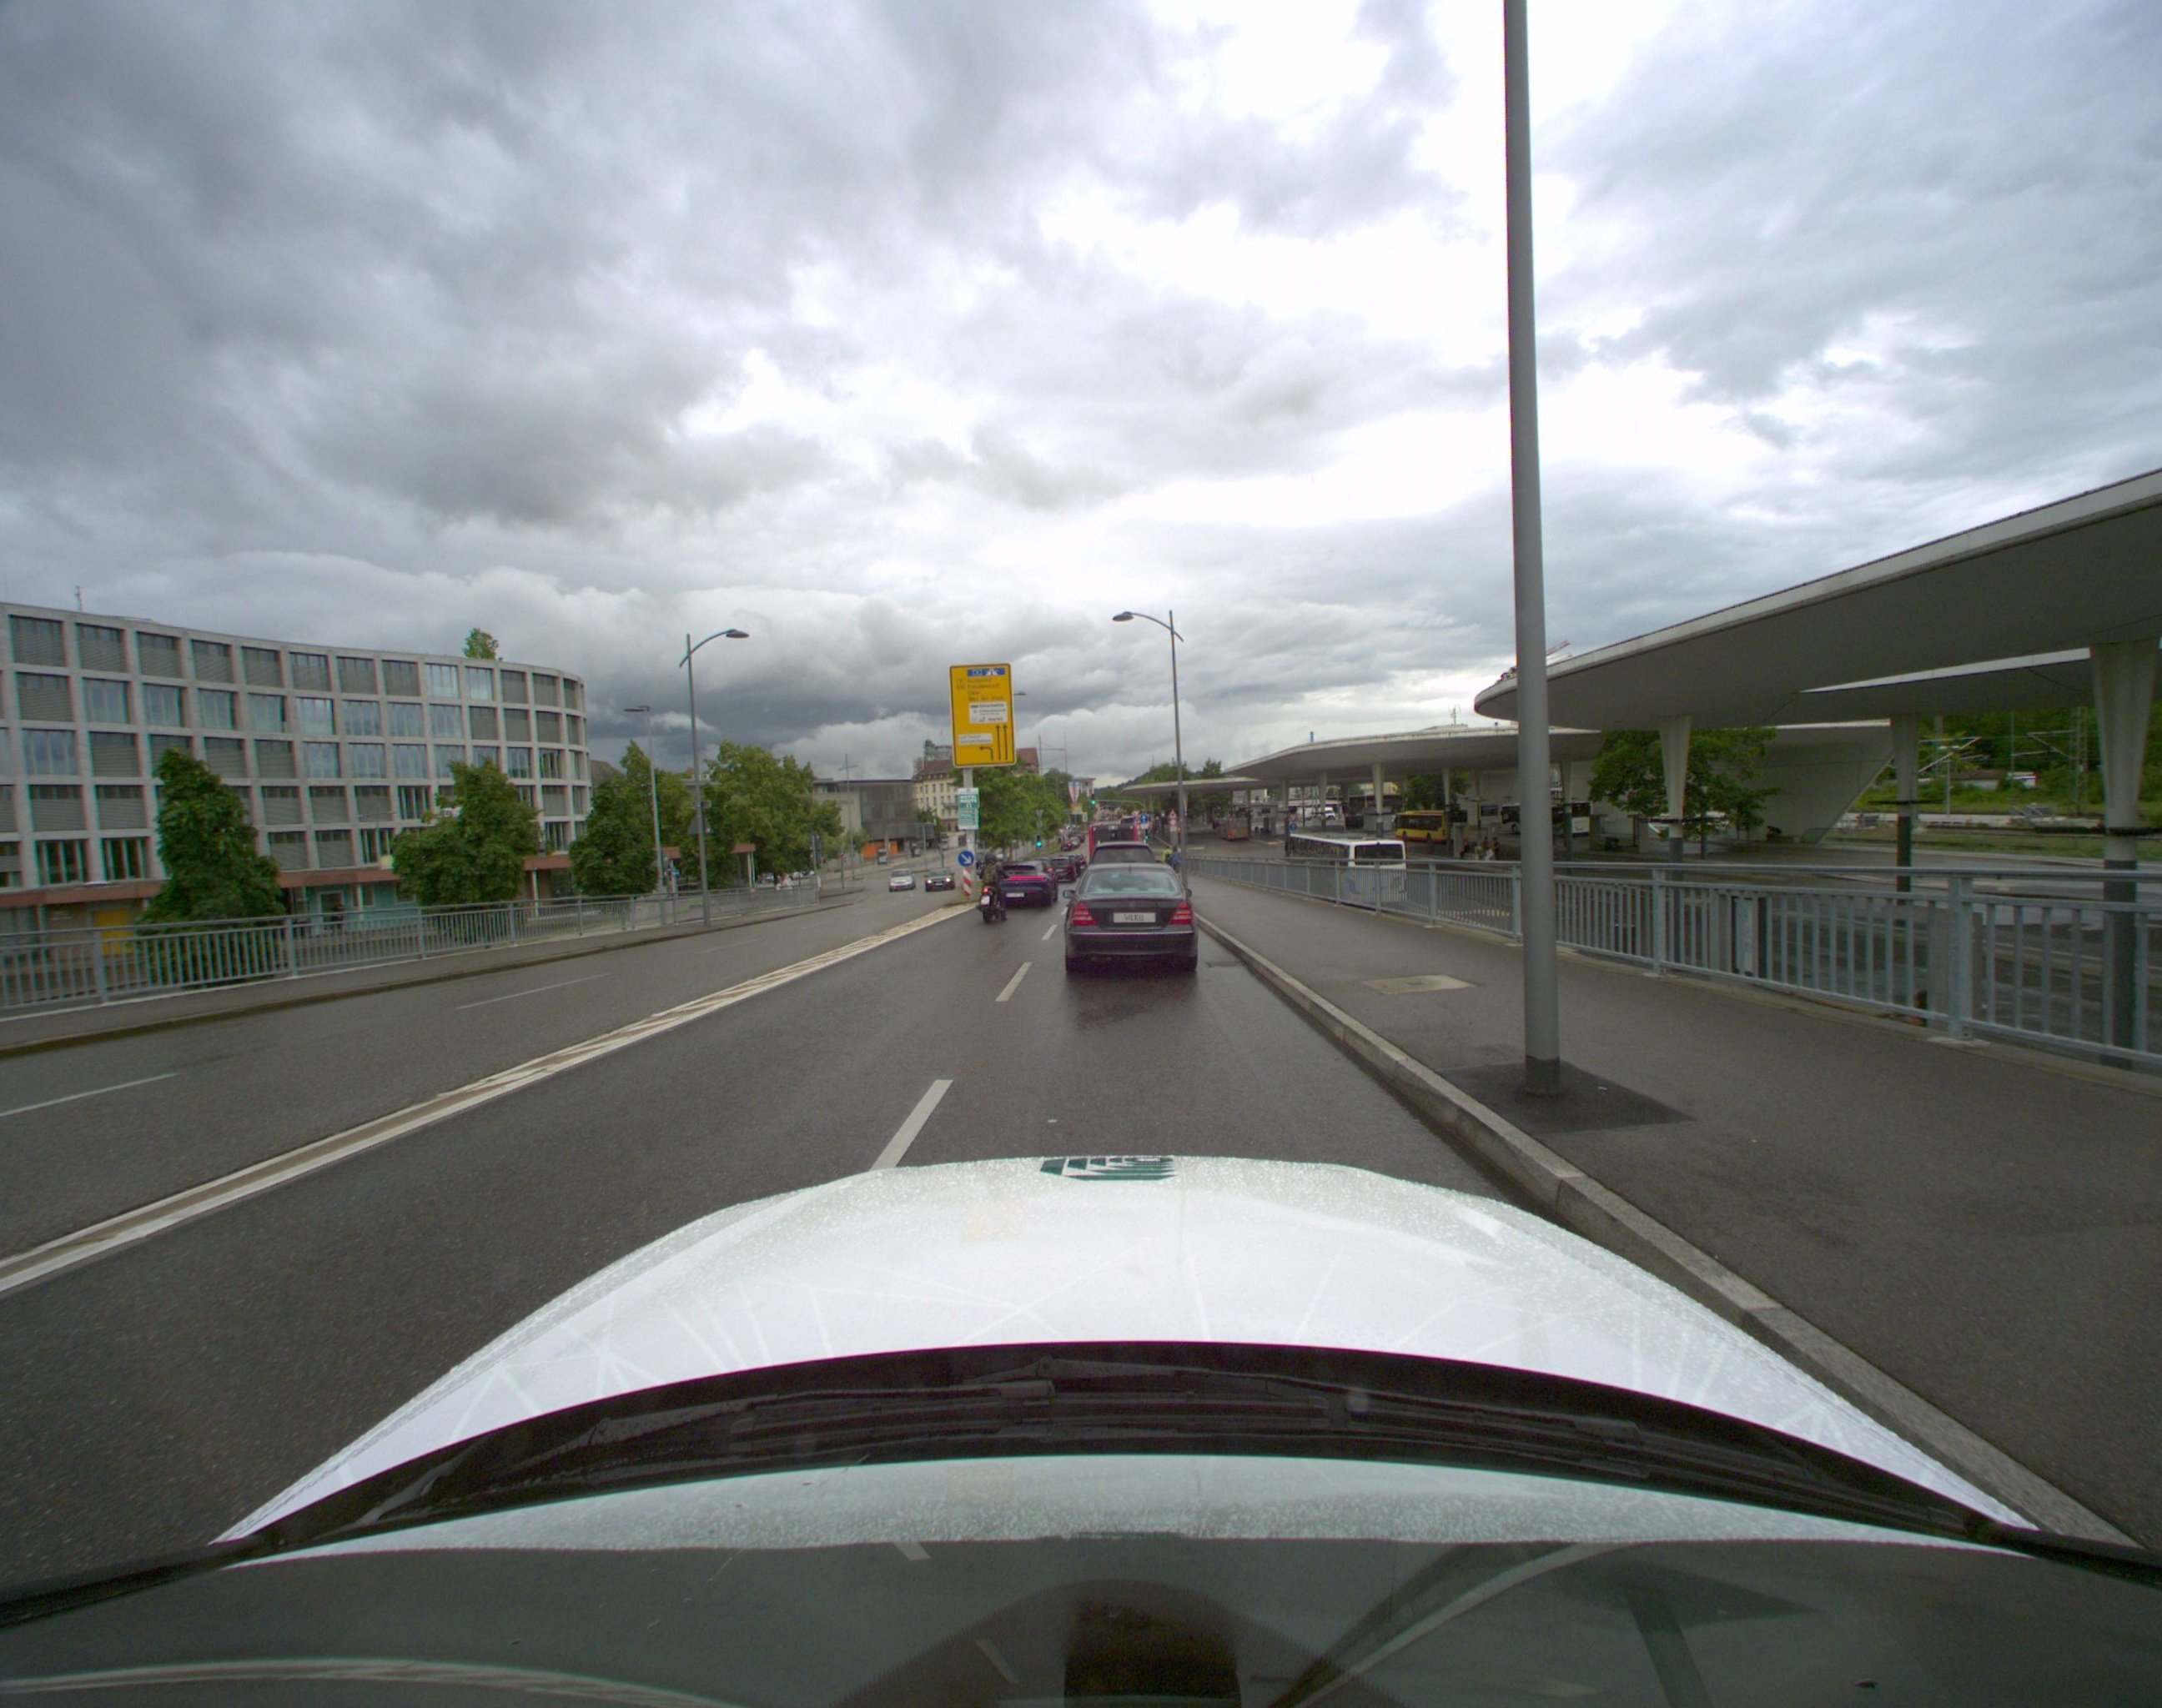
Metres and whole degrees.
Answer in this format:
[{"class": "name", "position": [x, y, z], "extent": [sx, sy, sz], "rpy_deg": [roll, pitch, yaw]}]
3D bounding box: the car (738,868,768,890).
[{"class": "car", "position": [-33.383, 2.507, 82.813], "extent": [2.008, 2.013, 3.958], "rpy_deg": [1, 1, -35]}]

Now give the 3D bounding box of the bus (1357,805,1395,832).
[{"class": "bus", "position": [37.824, -4.604, 104.691], "extent": [2.588, 3.209, 7.003], "rpy_deg": [-3, 2, 4]}]

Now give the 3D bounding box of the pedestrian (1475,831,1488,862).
[{"class": "pedestrian", "position": [26.362, -0.486, 53.593], "extent": [0.558, 2.013, 0.484], "rpy_deg": [-3, 0, 4]}]

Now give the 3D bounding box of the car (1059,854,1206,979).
[{"class": "car", "position": [0.710, 0.733, 11.364], "extent": [1.699, 1.419, 3.729], "rpy_deg": [-1, 0, 3]}]

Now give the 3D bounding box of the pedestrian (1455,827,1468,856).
[{"class": "pedestrian", "position": [26.842, -0.897, 57.477], "extent": [0.541, 2.013, 0.580], "rpy_deg": [-3, 0, 3]}]

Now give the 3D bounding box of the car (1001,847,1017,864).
[{"class": "car", "position": [-9.370, 0.258, 106.136], "extent": [1.990, 2.013, 4.195], "rpy_deg": [-3, -1, -5]}]

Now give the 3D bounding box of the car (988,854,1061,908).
[{"class": "car", "position": [-1.649, 0.776, 25.088], "extent": [1.753, 1.436, 4.003], "rpy_deg": [-1, 1, 2]}]

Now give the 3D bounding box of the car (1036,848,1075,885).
[{"class": "car", "position": [-1.401, 0.668, 46.708], "extent": [1.986, 2.006, 4.002], "rpy_deg": [-1, 1, 1]}]

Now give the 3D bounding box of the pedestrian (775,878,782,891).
[{"class": "pedestrian", "position": [-21.093, 2.132, 56.708], "extent": [0.299, 0.873, 0.299], "rpy_deg": [-3, 2, 4]}]

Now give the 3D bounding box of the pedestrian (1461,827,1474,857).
[{"class": "pedestrian", "position": [26.644, -0.847, 56.089], "extent": [0.541, 2.013, 0.580], "rpy_deg": [-3, 0, 3]}]

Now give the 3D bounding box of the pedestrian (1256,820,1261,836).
[{"class": "pedestrian", "position": [23.478, -3.449, 107.818], "extent": [0.422, 2.013, 0.484], "rpy_deg": [-3, 0, 4]}]

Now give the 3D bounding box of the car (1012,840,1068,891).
[{"class": "car", "position": [-1.693, 0.441, 35.236], "extent": [1.985, 2.006, 4.003], "rpy_deg": [-1, 1, 3]}]

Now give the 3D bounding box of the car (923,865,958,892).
[{"class": "car", "position": [-9.461, 1.624, 55.124], "extent": [1.830, 1.526, 4.586], "rpy_deg": [-3, 1, -5]}]

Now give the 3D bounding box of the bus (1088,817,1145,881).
[{"class": "bus", "position": [1.957, -0.303, 46.401], "extent": [2.816, 3.189, 10.314], "rpy_deg": [-1, 0, 2]}]

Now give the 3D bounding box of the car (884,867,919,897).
[{"class": "car", "position": [-13.615, 2.070, 61.882], "extent": [1.991, 2.013, 3.992], "rpy_deg": [-3, 0, -5]}]

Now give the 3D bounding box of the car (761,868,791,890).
[{"class": "car", "position": [-31.443, 2.535, 83.915], "extent": [2.008, 2.013, 3.958], "rpy_deg": [1, 1, -35]}]

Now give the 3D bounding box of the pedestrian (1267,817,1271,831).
[{"class": "pedestrian", "position": [26.017, -4.155, 112.815], "extent": [0.422, 2.013, 0.484], "rpy_deg": [-3, 0, 4]}]

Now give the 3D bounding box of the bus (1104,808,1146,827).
[{"class": "bus", "position": [9.985, -8.376, 185.735], "extent": [3.282, 4.006, 10.774], "rpy_deg": [-6, 5, -36]}]

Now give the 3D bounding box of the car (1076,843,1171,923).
[{"class": "car", "position": [1.124, 0.598, 19.409], "extent": [1.816, 1.687, 4.010], "rpy_deg": [-1, 1, 9]}]

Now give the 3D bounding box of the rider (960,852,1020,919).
[{"class": "rider", "position": [-2.112, 0.706, 19.296], "extent": [0.876, 1.472, 2.201], "rpy_deg": [-1, 0, 8]}]

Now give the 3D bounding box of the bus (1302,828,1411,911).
[{"class": "bus", "position": [12.985, 0.570, 39.041], "extent": [2.639, 3.235, 7.070], "rpy_deg": [-3, 4, -1]}]

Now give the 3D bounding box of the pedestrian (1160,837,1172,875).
[{"class": "pedestrian", "position": [4.549, 0.131, 43.682], "extent": [0.487, 2.014, 0.470], "rpy_deg": [-3, -2, 4]}]

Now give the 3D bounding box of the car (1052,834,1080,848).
[{"class": "car", "position": [-2.330, -2.029, 125.423], "extent": [3.967, 2.013, 2.004], "rpy_deg": [-3, 1, 6]}]

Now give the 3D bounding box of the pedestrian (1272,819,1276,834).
[{"class": "pedestrian", "position": [25.913, -3.714, 109.293], "extent": [0.422, 2.014, 0.484], "rpy_deg": [-3, -2, 4]}]

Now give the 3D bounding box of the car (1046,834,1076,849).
[{"class": "car", "position": [-2.898, -1.793, 119.574], "extent": [3.967, 2.013, 2.004], "rpy_deg": [-3, 1, 6]}]

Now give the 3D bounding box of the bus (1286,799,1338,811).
[{"class": "bus", "position": [48.097, -10.173, 169.703], "extent": [10.139, 2.013, 2.169], "rpy_deg": [-3, 1, -1]}]

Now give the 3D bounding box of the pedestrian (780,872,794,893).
[{"class": "pedestrian", "position": [-20.429, 1.956, 56.641], "extent": [0.645, 1.408, 0.531], "rpy_deg": [-3, 2, 4]}]

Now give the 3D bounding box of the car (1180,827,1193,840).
[{"class": "car", "position": [17.937, -3.500, 138.088], "extent": [1.982, 2.013, 4.009], "rpy_deg": [-3, 1, 8]}]

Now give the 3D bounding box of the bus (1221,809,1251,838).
[{"class": "bus", "position": [21.349, -4.068, 112.580], "extent": [3.161, 3.600, 10.531], "rpy_deg": [-3, 1, 7]}]

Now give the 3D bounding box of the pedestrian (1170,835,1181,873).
[{"class": "pedestrian", "position": [5.064, 0.016, 43.605], "extent": [0.422, 2.014, 0.484], "rpy_deg": [-3, -2, 4]}]

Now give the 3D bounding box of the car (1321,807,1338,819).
[{"class": "car", "position": [48.022, -7.922, 157.464], "extent": [1.986, 2.013, 4.002], "rpy_deg": [-3, 2, 2]}]

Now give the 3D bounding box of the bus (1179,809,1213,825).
[{"class": "bus", "position": [27.002, -8.656, 191.354], "extent": [7.179, 3.396, 3.080], "rpy_deg": [-3, 2, -2]}]

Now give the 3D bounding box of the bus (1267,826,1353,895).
[{"class": "bus", "position": [12.828, 0.219, 46.195], "extent": [2.639, 3.235, 7.070], "rpy_deg": [-3, 4, -1]}]
